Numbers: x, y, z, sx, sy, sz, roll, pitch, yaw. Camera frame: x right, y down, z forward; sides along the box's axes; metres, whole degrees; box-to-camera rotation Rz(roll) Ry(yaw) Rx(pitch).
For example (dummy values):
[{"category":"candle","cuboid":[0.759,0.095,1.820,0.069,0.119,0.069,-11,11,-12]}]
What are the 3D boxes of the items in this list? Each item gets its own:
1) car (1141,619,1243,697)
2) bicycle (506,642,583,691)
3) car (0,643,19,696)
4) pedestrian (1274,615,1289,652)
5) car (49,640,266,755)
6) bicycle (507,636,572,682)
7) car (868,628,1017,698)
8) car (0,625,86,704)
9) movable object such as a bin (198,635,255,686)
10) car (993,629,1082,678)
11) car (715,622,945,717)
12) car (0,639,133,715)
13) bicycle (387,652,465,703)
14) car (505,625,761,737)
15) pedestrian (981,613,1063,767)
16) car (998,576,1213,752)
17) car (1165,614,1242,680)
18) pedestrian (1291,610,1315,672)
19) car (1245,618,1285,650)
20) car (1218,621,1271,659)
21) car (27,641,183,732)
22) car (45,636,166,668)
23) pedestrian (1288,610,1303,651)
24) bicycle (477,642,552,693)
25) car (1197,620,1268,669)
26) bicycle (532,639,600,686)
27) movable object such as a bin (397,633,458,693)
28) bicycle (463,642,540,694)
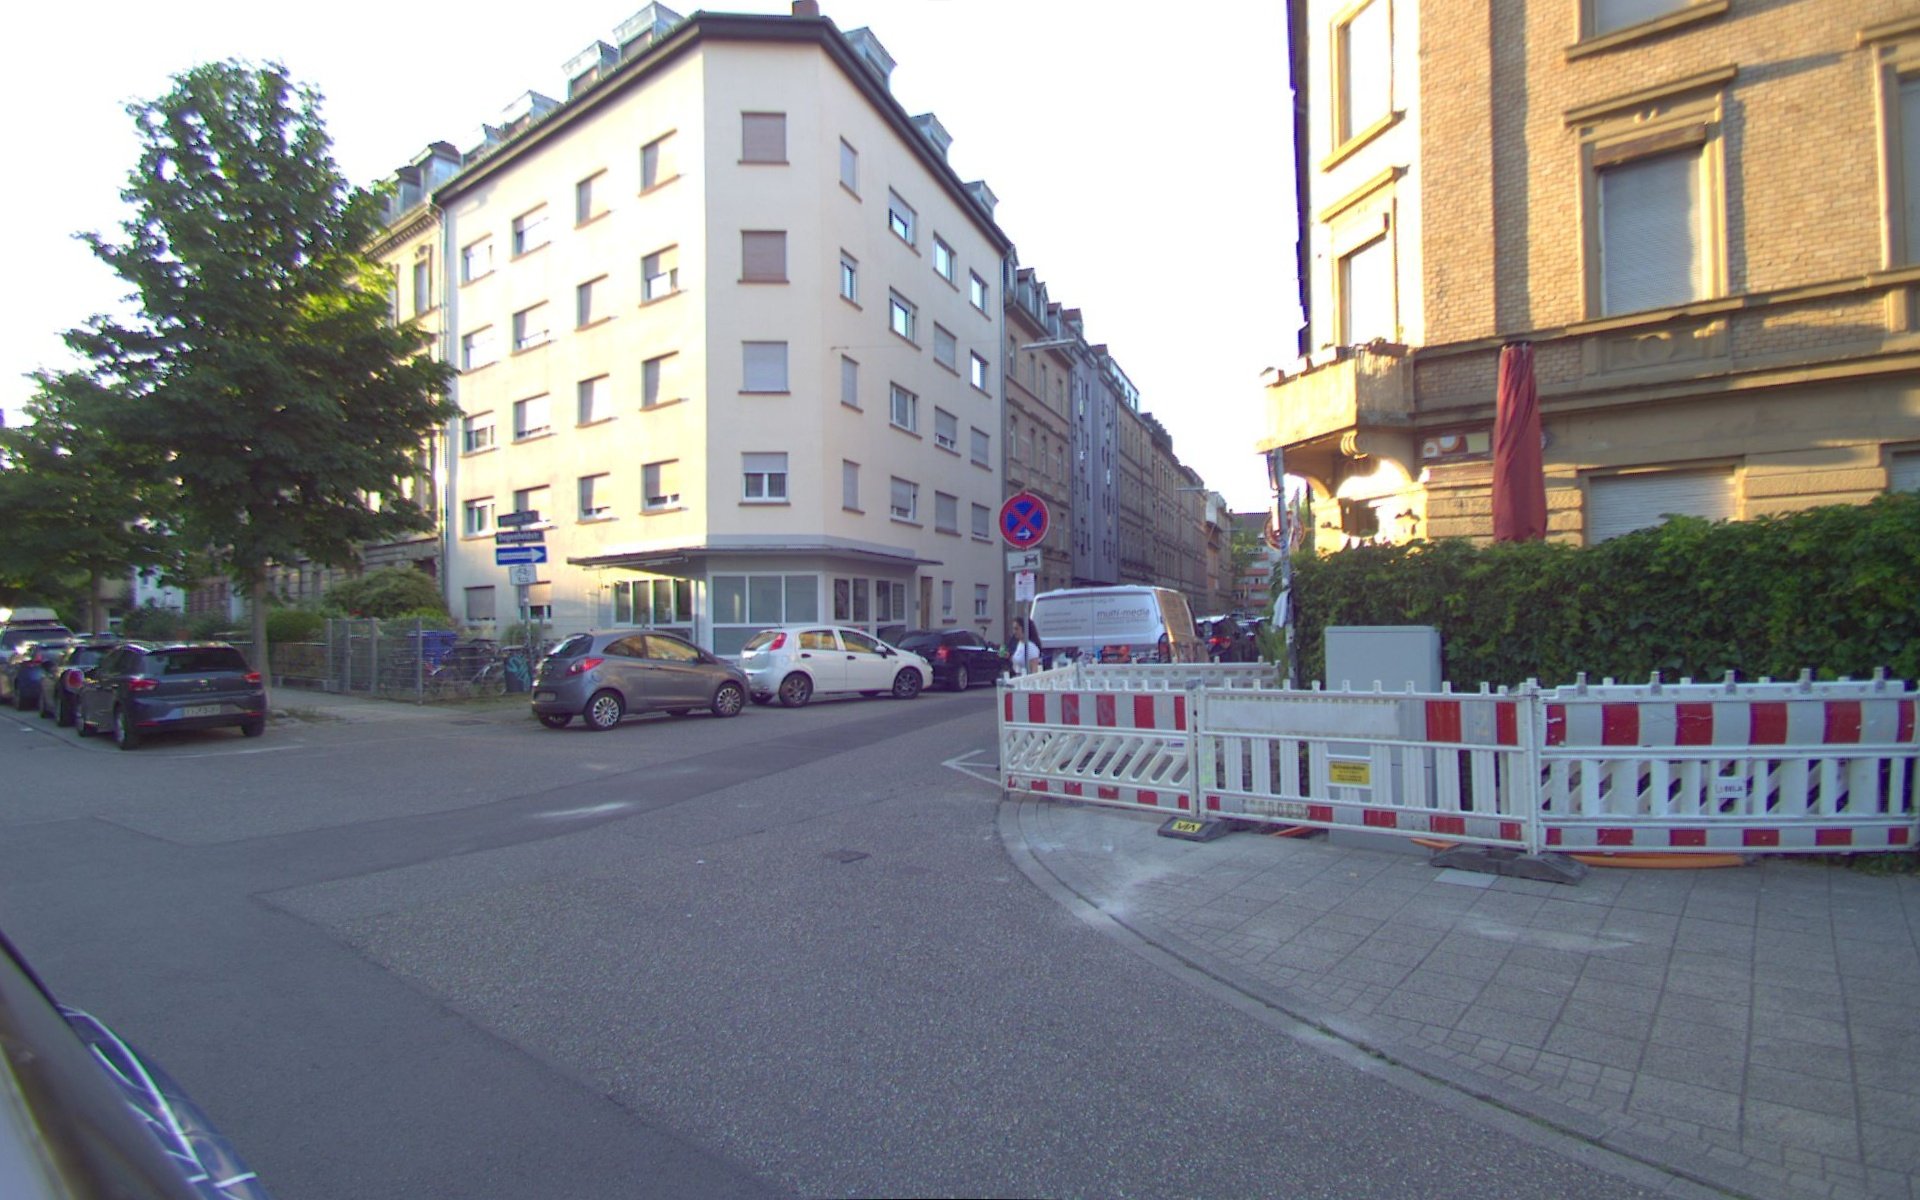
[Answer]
[{"category":"car","cuboid":[5.319,1.264,22.856,2.005,1.583,3.898,-2,-2,16]},{"category":"bicycle","cuboid":[-9.884,1.578,24.072,1.689,1.100,0.384,-2,0,4]},{"category":"car","cuboid":[-28.578,2.004,29.070,4.020,1.452,1.711,-2,-1,39]},{"category":"pedestrian","cuboid":[14.743,1.536,46.398,0.589,1.699,0.495,-2,0,18]},{"category":"car","cuboid":[-12.324,1.372,15.446,4.458,1.473,1.658,-2,-1,39]},{"category":"bicycle","cuboid":[-11.128,1.548,26.820,0.499,1.100,1.531,-2,0,34]},{"category":"car","cuboid":[-0.301,1.421,23.695,1.986,1.450,4.046,-2,-2,24]},{"category":"car","cuboid":[-23.534,1.559,25.291,4.619,1.792,1.843,-2,-1,40]},{"category":"movable object such as a bin","cuboid":[-21.701,1.773,29.927,1.549,1.398,0.937,-2,0,37]},{"category":"car","cuboid":[2.503,1.646,31.735,1.860,1.419,3.976,-2,-2,18]},{"category":"car","cuboid":[-2.514,1.277,19.895,4.007,1.520,1.978,-2,0,-37]},{"category":"car","cuboid":[-19.780,1.603,22.076,4.586,1.423,1.843,-2,-1,40]},{"category":"bicycle","cuboid":[-11.564,1.656,21.902,1.927,1.033,0.681,-2,0,35]},{"category":"car","cuboid":[-5.171,1.221,16.295,1.843,1.519,3.471,-3,-2,40]},{"category":"pedestrian","cuboid":[0.683,0.977,11.311,0.775,1.630,0.712,-2,0,-4]},{"category":"car","cuboid":[2.282,0.805,14.282,2.190,1.990,5.264,-2,-2,17]},{"category":"car","cuboid":[6.664,1.239,27.464,1.572,1.635,3.973,-2,-2,20]},{"category":"pedestrian","cuboid":[9.641,1.152,28.459,0.589,1.699,0.495,-2,0,18]},{"category":"car","cuboid":[16.348,1.801,54.094,1.875,1.569,3.975,-2,-2,19]},{"category":"car","cuboid":[11.587,1.600,41.046,1.774,1.470,3.973,-2,-2,20]},{"category":"car","cuboid":[-15.875,1.502,18.714,4.142,1.431,1.723,-2,-1,43]},{"category":"car","cuboid":[-41.781,2.494,49.542,1.625,1.351,4.356,-2,-1,41]},{"category":"pedestrian","cuboid":[15.310,1.377,46.163,0.589,1.820,0.495,-2,0,18]},{"category":"bicycle","cuboid":[-10.406,1.575,23.655,1.528,1.100,0.500,-2,0,3]},{"category":"car","cuboid":[8.756,1.396,32.337,1.830,1.438,3.973,-2,-2,20]},{"category":"bicycle","cuboid":[-10.141,1.593,26.116,0.499,1.100,1.617,-2,0,34]},{"category":"movable object such as a bin","cuboid":[-12.959,1.516,24.609,1.398,1.362,0.857,-2,0,42]},{"category":"bicycle","cuboid":[-10.483,1.548,23.141,1.528,1.100,0.500,-2,0,3]}]
